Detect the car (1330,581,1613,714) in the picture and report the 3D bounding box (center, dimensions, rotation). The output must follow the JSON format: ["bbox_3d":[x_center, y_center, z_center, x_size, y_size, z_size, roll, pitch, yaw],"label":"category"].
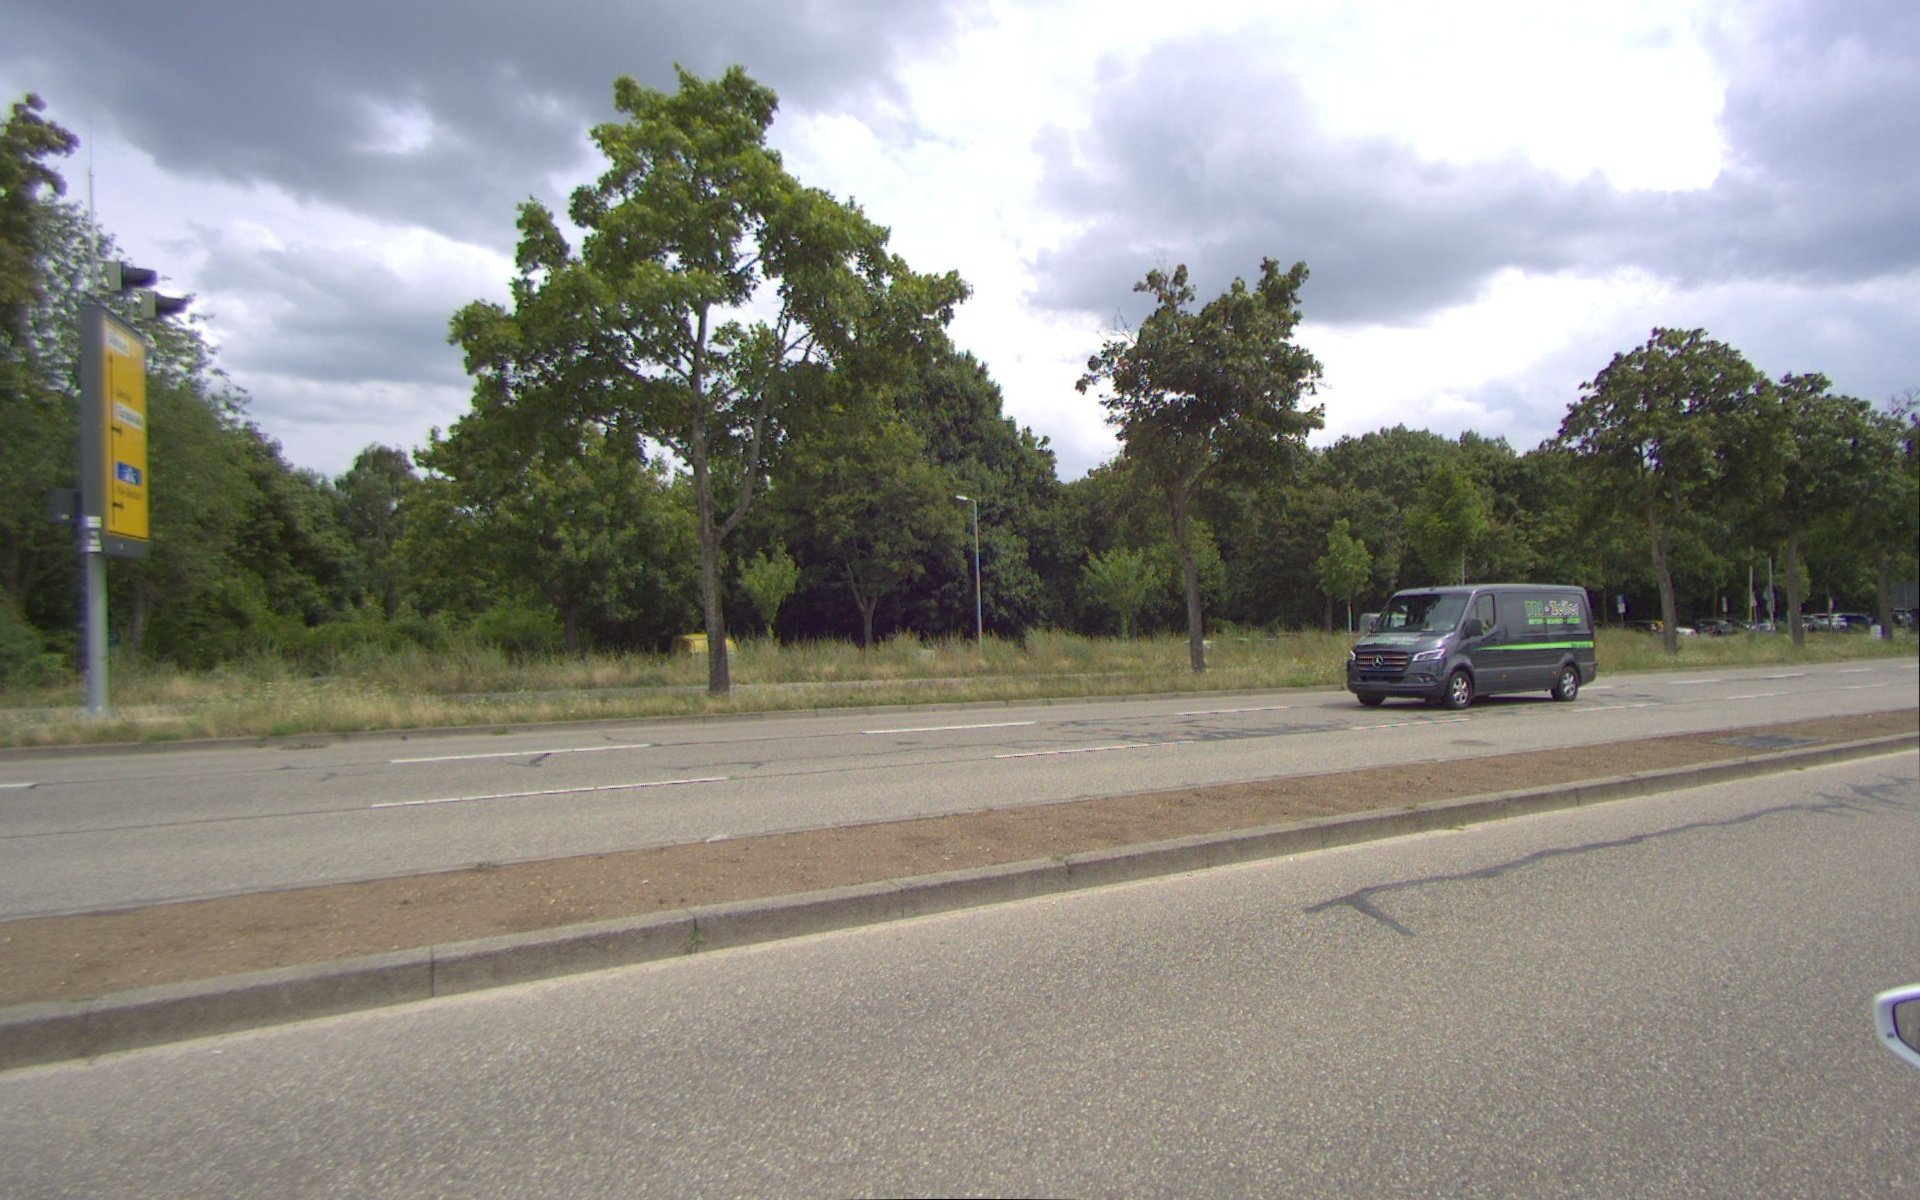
[{"bbox_3d":[9.925,0.851,19.301,5.937,2.230,2.084,0,-2,-32],"label":"car"}]

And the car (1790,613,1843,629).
[{"bbox_3d":[86.556,2.098,101.525,1.860,1.539,3.632,-1,0,-30],"label":"car"}]

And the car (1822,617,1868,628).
[{"bbox_3d":[92.394,2.335,104.848,1.425,1.108,3.350,-1,0,-31],"label":"car"}]

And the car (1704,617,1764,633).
[{"bbox_3d":[70.454,2.223,91.441,1.801,1.378,3.968,-1,0,-30],"label":"car"}]

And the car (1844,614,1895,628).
[{"bbox_3d":[99.801,2.320,110.199,1.942,1.445,3.755,-1,0,-30],"label":"car"}]

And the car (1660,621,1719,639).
[{"bbox_3d":[59.799,2.431,82.423,1.499,1.430,3.632,-1,0,-30],"label":"car"}]

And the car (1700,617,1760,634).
[{"bbox_3d":[68.696,2.262,89.697,1.647,1.378,3.968,-1,0,-30],"label":"car"}]

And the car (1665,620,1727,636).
[{"bbox_3d":[62.440,2.338,85.274,1.546,1.276,3.966,-1,0,-31],"label":"car"}]

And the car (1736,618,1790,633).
[{"bbox_3d":[74.509,2.358,93.238,1.688,1.378,3.629,-1,0,-30],"label":"car"}]

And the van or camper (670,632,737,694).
[{"bbox_3d":[-9.975,2.373,38.808,1.971,2.040,4.345,1,0,-21],"label":"van or camper"}]

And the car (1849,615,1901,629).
[{"bbox_3d":[98.393,2.323,108.061,1.977,1.428,3.711,0,0,-31],"label":"car"}]

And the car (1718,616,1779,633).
[{"bbox_3d":[72.583,2.250,92.532,1.974,1.429,3.972,-1,0,-27],"label":"car"}]

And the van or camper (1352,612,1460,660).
[{"bbox_3d":[25.987,2.006,58.453,6.645,2.575,2.458,0,0,-32],"label":"van or camper"}]

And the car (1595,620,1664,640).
[{"bbox_3d":[51.375,2.302,77.184,1.976,1.468,3.969,-1,0,-30],"label":"car"}]

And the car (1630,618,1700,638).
[{"bbox_3d":[56.037,2.193,79.871,1.863,1.518,4.160,-1,0,-30],"label":"car"}]

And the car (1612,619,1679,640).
[{"bbox_3d":[53.605,2.298,78.619,1.764,1.518,3.968,-1,0,-30],"label":"car"}]

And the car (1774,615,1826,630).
[{"bbox_3d":[82.522,2.220,98.686,1.499,1.430,3.632,-1,0,-30],"label":"car"}]

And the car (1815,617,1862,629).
[{"bbox_3d":[89.940,2.356,102.867,1.425,1.144,3.350,-1,0,-31],"label":"car"}]

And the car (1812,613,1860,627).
[{"bbox_3d":[90.583,2.089,103.917,1.306,1.430,3.533,-1,0,-30],"label":"car"}]
